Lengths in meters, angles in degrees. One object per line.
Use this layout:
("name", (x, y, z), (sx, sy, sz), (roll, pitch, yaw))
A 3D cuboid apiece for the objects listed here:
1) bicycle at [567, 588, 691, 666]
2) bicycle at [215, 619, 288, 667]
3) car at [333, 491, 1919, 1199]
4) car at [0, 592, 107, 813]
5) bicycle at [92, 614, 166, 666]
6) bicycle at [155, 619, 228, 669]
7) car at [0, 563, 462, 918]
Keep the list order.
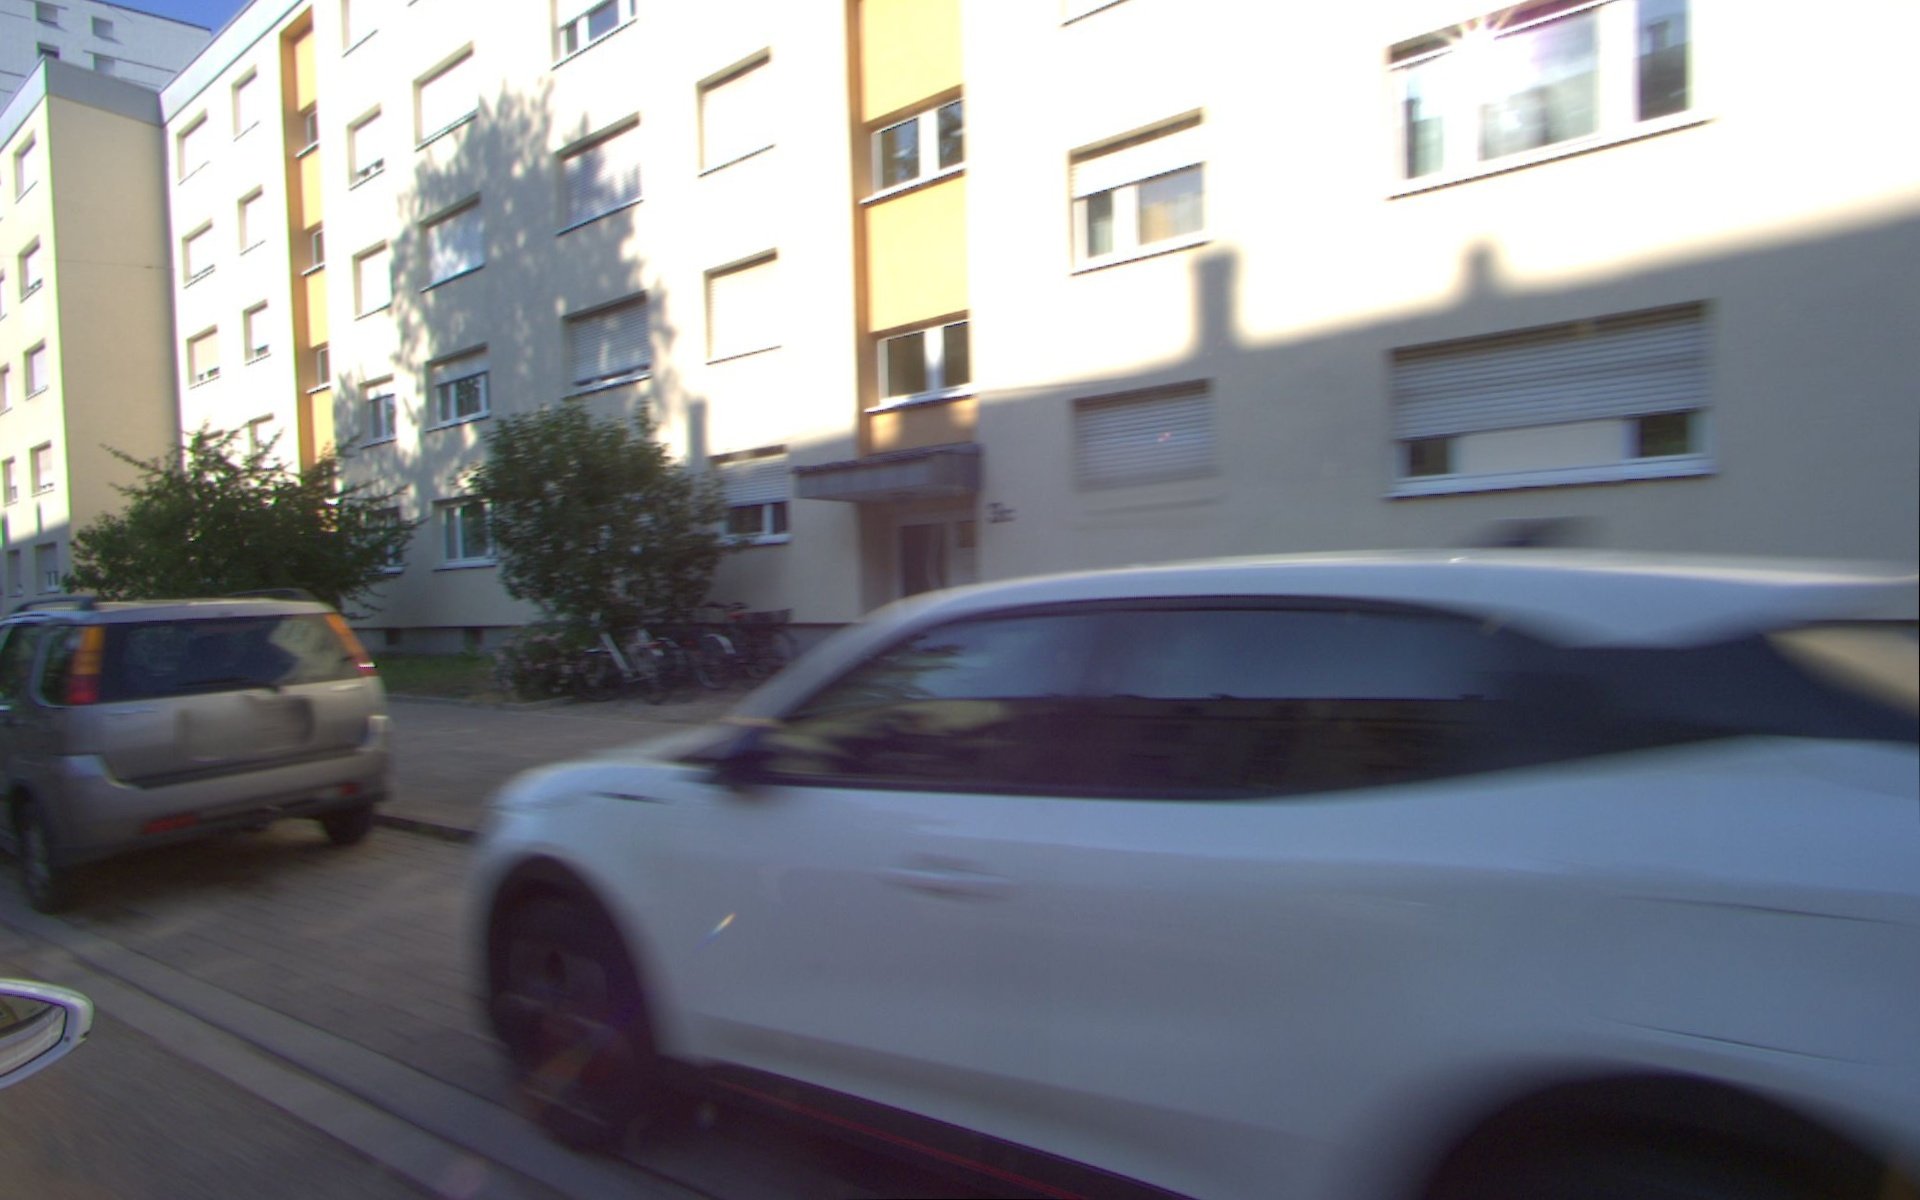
("bicycle", (-5.208, 0.429, 15.662), (2.363, 1.129, 0.491), (-2, 4, 37))
("bicycle", (-17.363, 1.034, 24.519), (2.359, 1.096, 0.598), (0, 2, 33))
("car", (0.430, 0.591, 2.647), (3.942, 1.462, 1.868), (-2, 3, 31))
("car", (-9.721, 0.942, 9.121), (3.923, 1.796, 1.832), (-2, 2, 33))
("bicycle", (-19.033, 0.892, 22.919), (2.359, 1.096, 0.598), (0, 2, 33))
("bicycle", (-18.176, 1.018, 23.655), (2.359, 1.096, 0.598), (0, 2, 33))
("car", (-5.417, 0.700, 6.558), (4.220, 1.626, 1.957), (-2, 0, 33))
